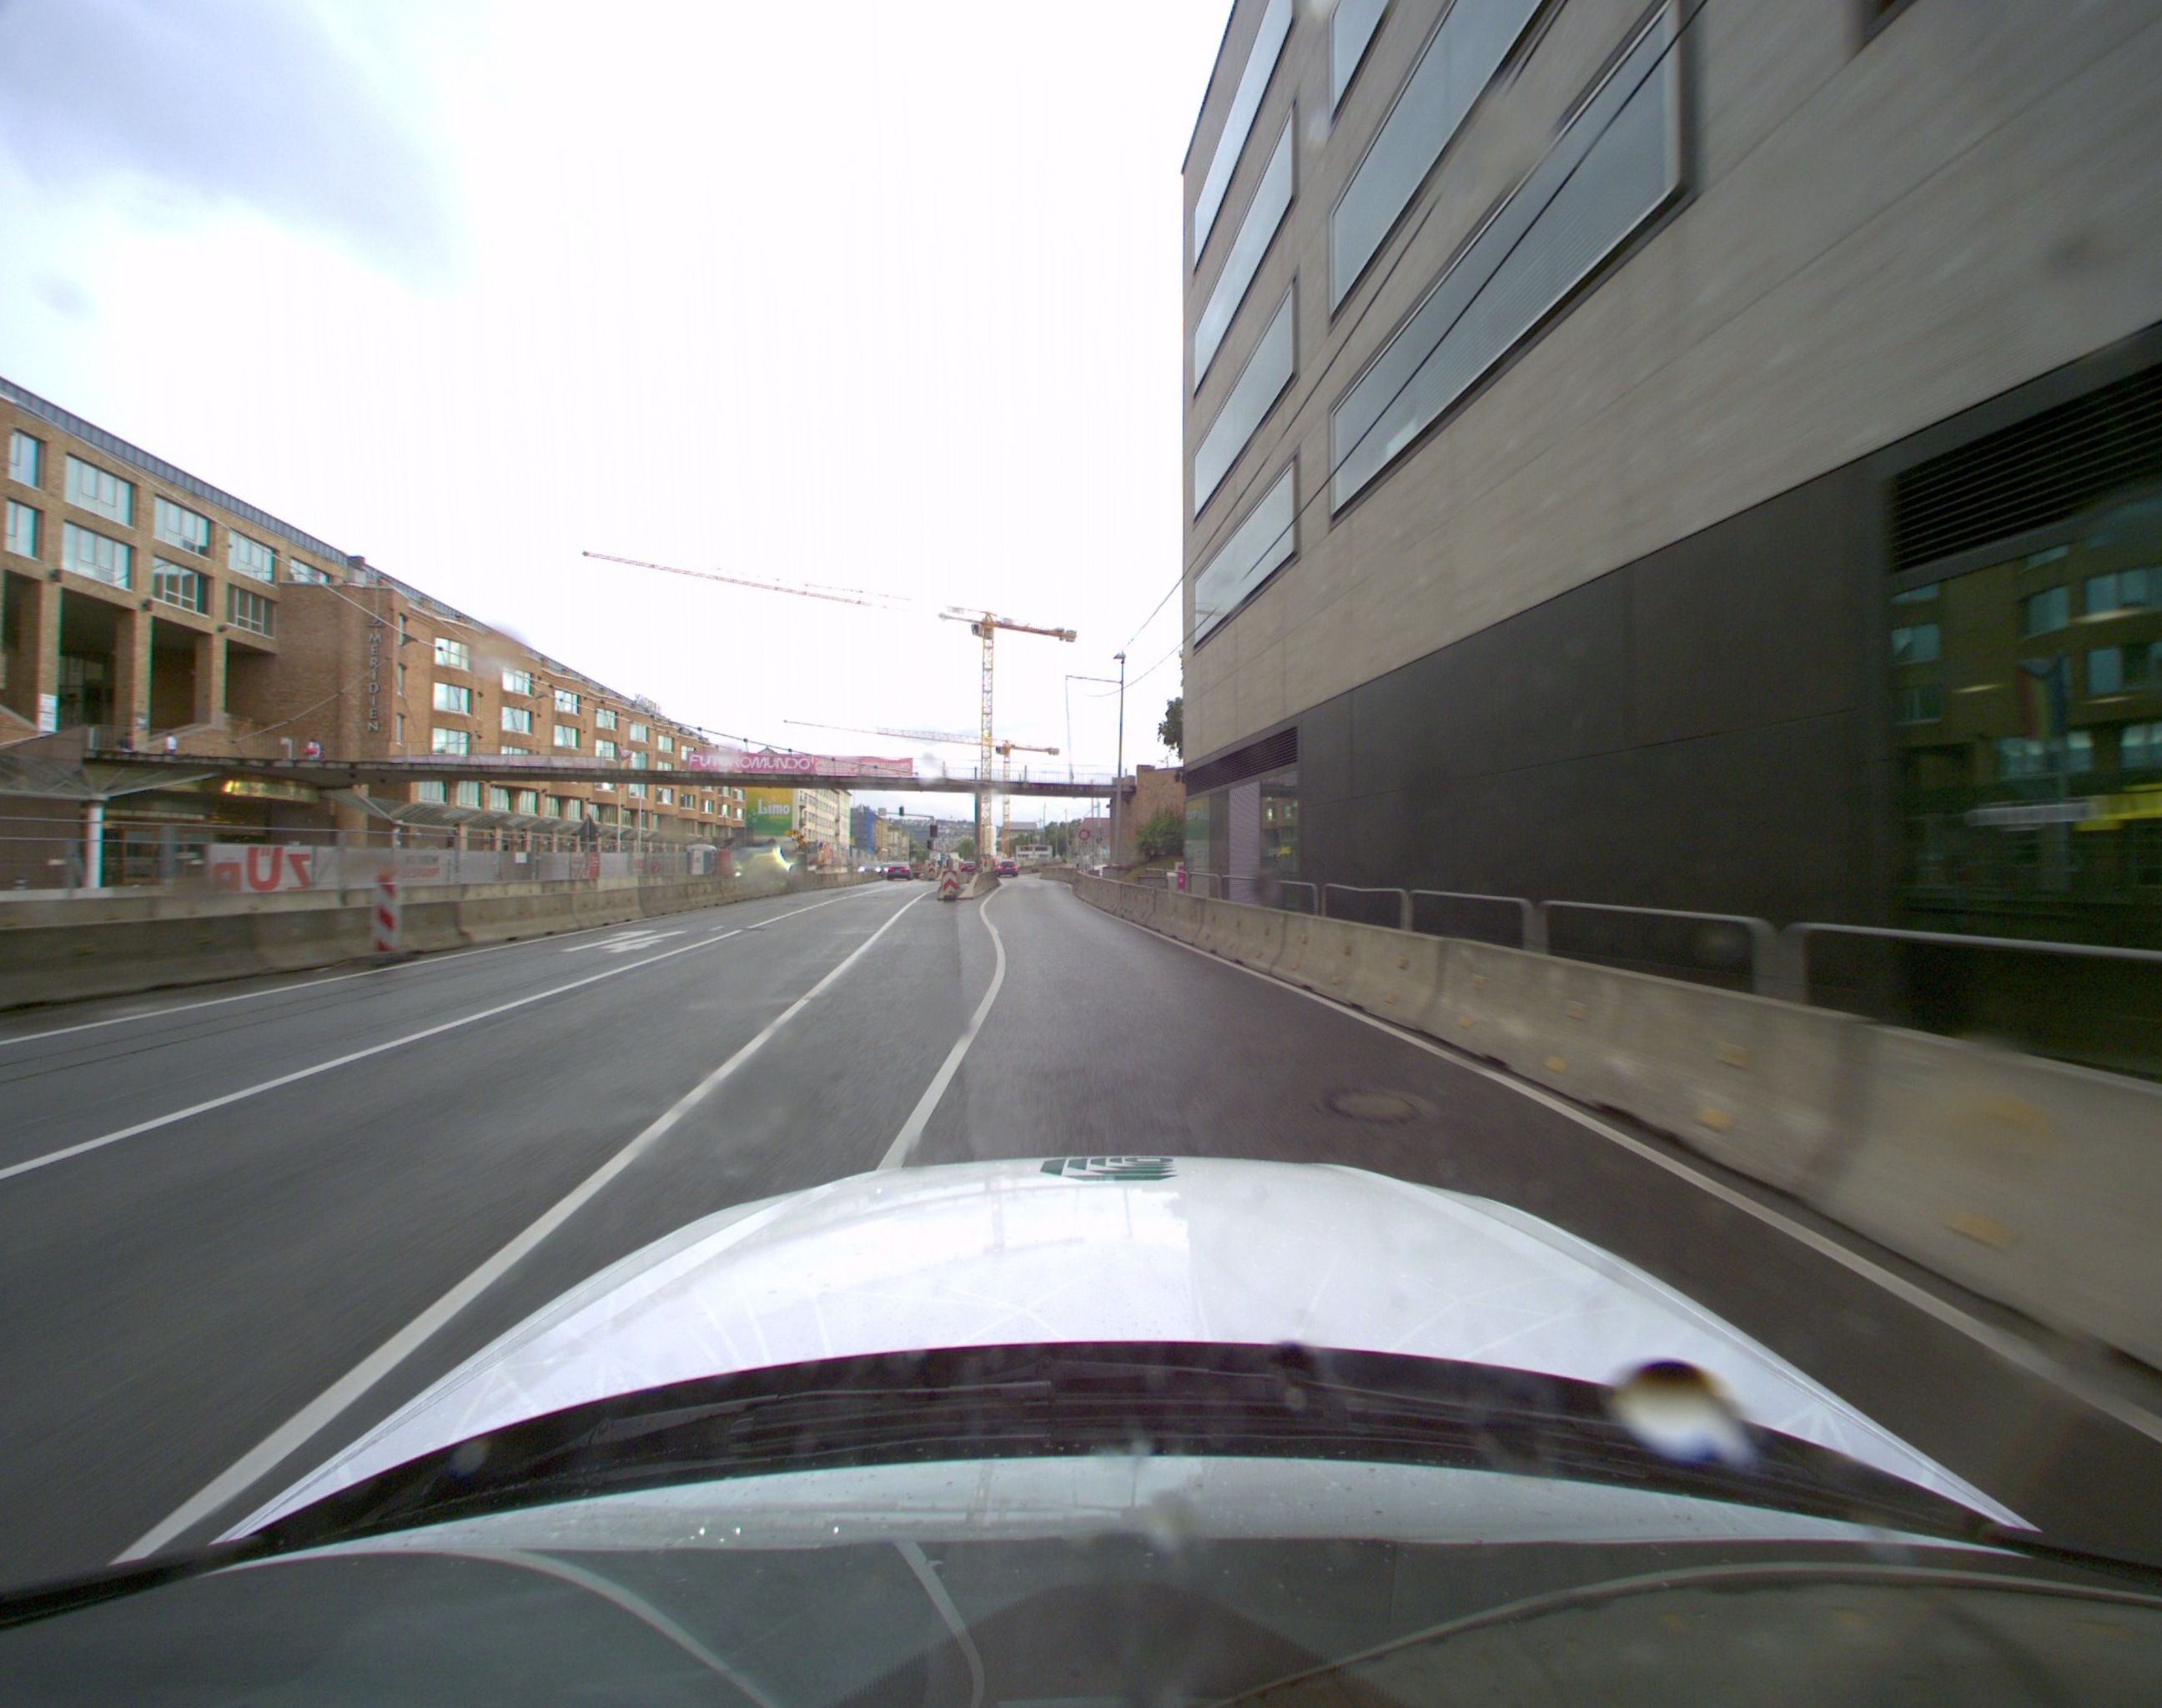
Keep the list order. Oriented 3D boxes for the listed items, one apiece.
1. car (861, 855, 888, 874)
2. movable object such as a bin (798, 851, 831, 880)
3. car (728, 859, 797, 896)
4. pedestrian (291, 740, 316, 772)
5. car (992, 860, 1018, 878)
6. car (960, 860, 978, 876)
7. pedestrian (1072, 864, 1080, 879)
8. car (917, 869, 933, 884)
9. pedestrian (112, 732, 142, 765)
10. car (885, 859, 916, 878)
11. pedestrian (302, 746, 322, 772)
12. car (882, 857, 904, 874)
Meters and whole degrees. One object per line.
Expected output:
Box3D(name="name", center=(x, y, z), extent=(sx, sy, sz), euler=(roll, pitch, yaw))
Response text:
Box3D(name="car", center=(-19.031, 0.931, 75.096), extent=(1.803, 1.623, 3.896), euler=(0, 2, -5))
Box3D(name="movable object such as a bin", center=(-23.106, 1.001, 70.645), extent=(2.027, 2.277, 4.277), euler=(-3, 0, -11))
Box3D(name="car", center=(-15.699, 1.119, 40.373), extent=(1.991, 1.623, 4.692), euler=(0, 1, -6))
Box3D(name="pedestrian", center=(-37.567, -4.722, 39.343), extent=(0.619, 1.452, 0.617), euler=(-1, 0, -5))
Box3D(name="car", center=(-6.740, 1.294, 71.908), extent=(1.863, 1.433, 4.639), euler=(0, 0, -10))
Box3D(name="car", center=(-12.398, 1.521, 90.428), extent=(1.861, 1.660, 4.646), euler=(0, 0, -6))
Box3D(name="pedestrian", center=(-0.612, 2.043, 97.393), extent=(0.693, 1.778, 0.808), euler=(0, -2, -27))
Box3D(name="car", center=(-20.724, 2.976, 108.450), extent=(1.862, 1.765, 4.641), euler=(0, 0, -9))
Box3D(name="pedestrian", center=(-44.235, -4.906, 37.760), extent=(0.619, 1.452, 0.617), euler=(-1, 0, -5))
Box3D(name="car", center=(-14.506, 1.173, 65.575), extent=(1.860, 1.443, 4.648), euler=(0, 0, -5))
Box3D(name="pedestrian", center=(-37.843, -4.672, 40.072), extent=(0.474, 1.194, 0.483), euler=(-1, 0, -5))
Box3D(name="car", center=(-21.574, 1.334, 93.767), extent=(1.803, 1.821, 5.290), euler=(0, 1, -6))
